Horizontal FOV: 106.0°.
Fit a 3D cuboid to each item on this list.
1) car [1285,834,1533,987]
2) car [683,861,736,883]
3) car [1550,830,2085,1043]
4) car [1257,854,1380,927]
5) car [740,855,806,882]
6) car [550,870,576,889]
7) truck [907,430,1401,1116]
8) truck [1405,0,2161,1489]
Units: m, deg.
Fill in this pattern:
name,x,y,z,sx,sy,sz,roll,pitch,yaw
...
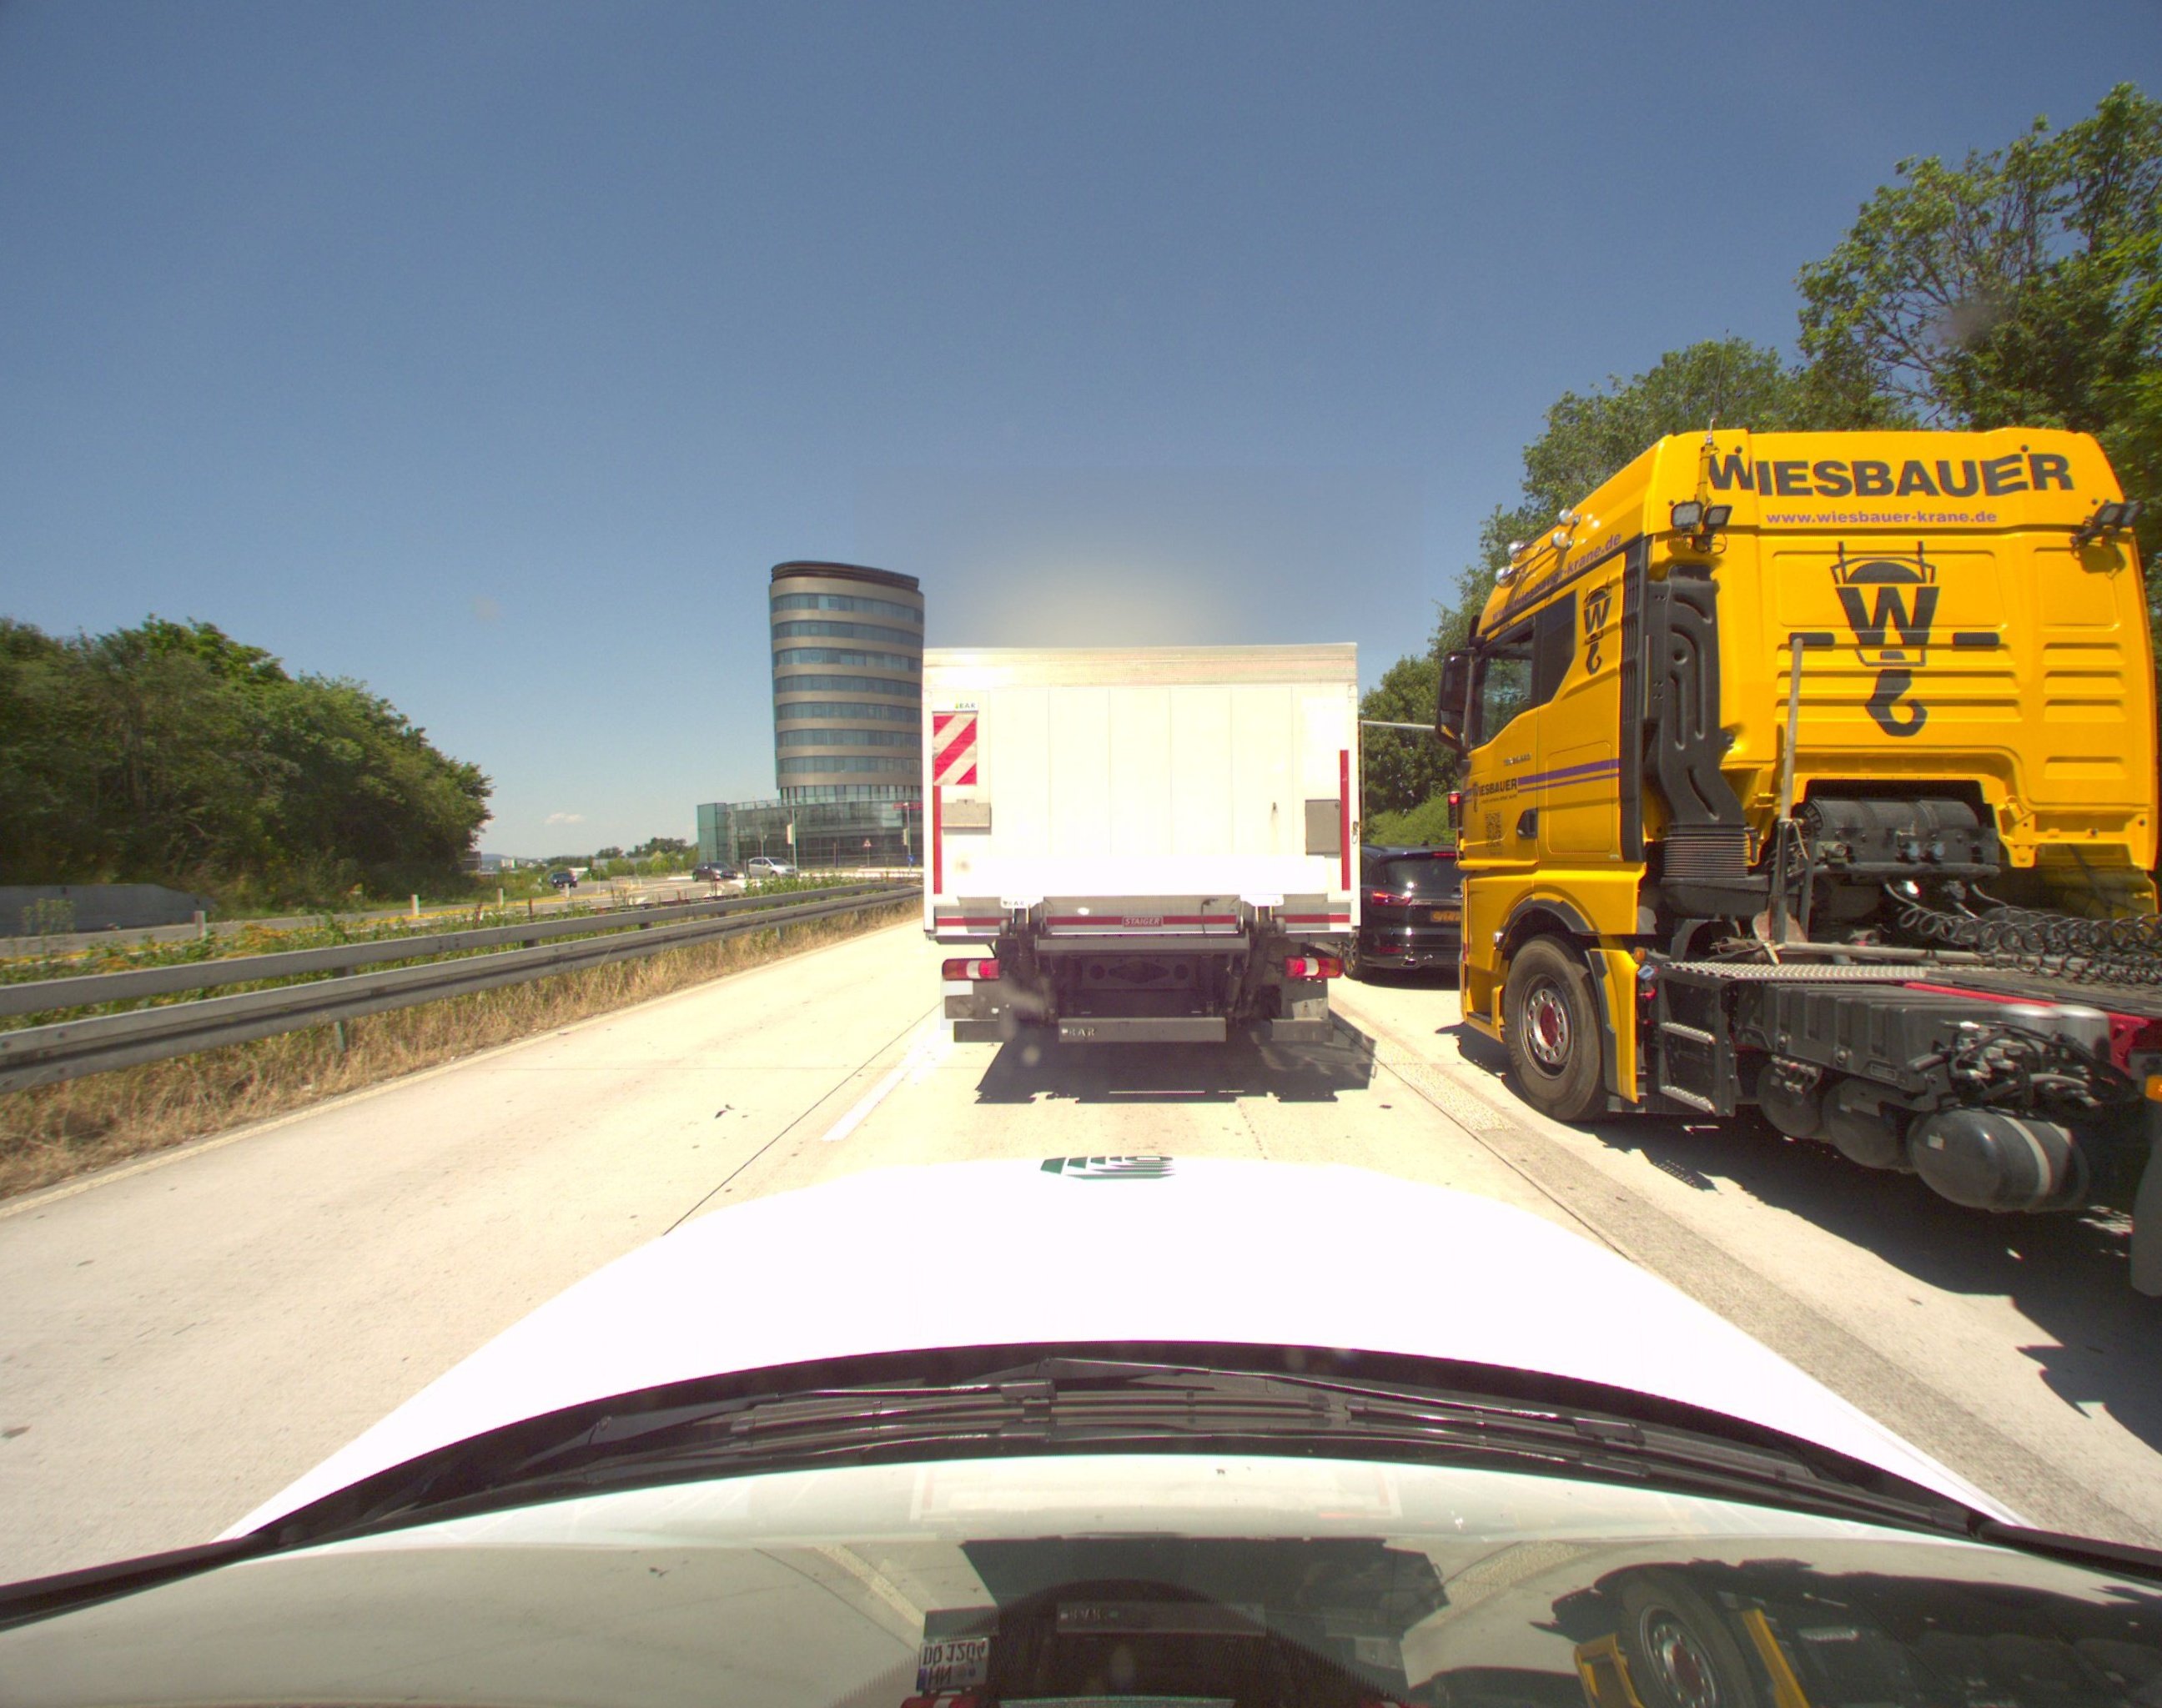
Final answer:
name,x,y,z,sx,sy,sz,roll,pitch,yaw
car,4.107,0.633,11.090,1.776,1.639,4.652,0,-1,4
car,-26.917,1.312,58.945,4.273,1.456,1.708,-3,-2,37
car,7.729,0.725,9.402,1.763,1.807,4.789,0,-1,-1
car,5.138,0.736,18.240,1.759,1.410,4.615,0,-1,5
car,-20.659,0.988,54.564,4.274,1.595,1.788,-3,-2,29
car,-44.886,2.179,70.575,1.724,1.485,4.247,0,-1,-35
truck,0.551,-0.423,9.283,2.759,3.860,9.374,0,-1,2
truck,3.928,-0.464,2.427,3.003,3.772,7.470,0,0,1
